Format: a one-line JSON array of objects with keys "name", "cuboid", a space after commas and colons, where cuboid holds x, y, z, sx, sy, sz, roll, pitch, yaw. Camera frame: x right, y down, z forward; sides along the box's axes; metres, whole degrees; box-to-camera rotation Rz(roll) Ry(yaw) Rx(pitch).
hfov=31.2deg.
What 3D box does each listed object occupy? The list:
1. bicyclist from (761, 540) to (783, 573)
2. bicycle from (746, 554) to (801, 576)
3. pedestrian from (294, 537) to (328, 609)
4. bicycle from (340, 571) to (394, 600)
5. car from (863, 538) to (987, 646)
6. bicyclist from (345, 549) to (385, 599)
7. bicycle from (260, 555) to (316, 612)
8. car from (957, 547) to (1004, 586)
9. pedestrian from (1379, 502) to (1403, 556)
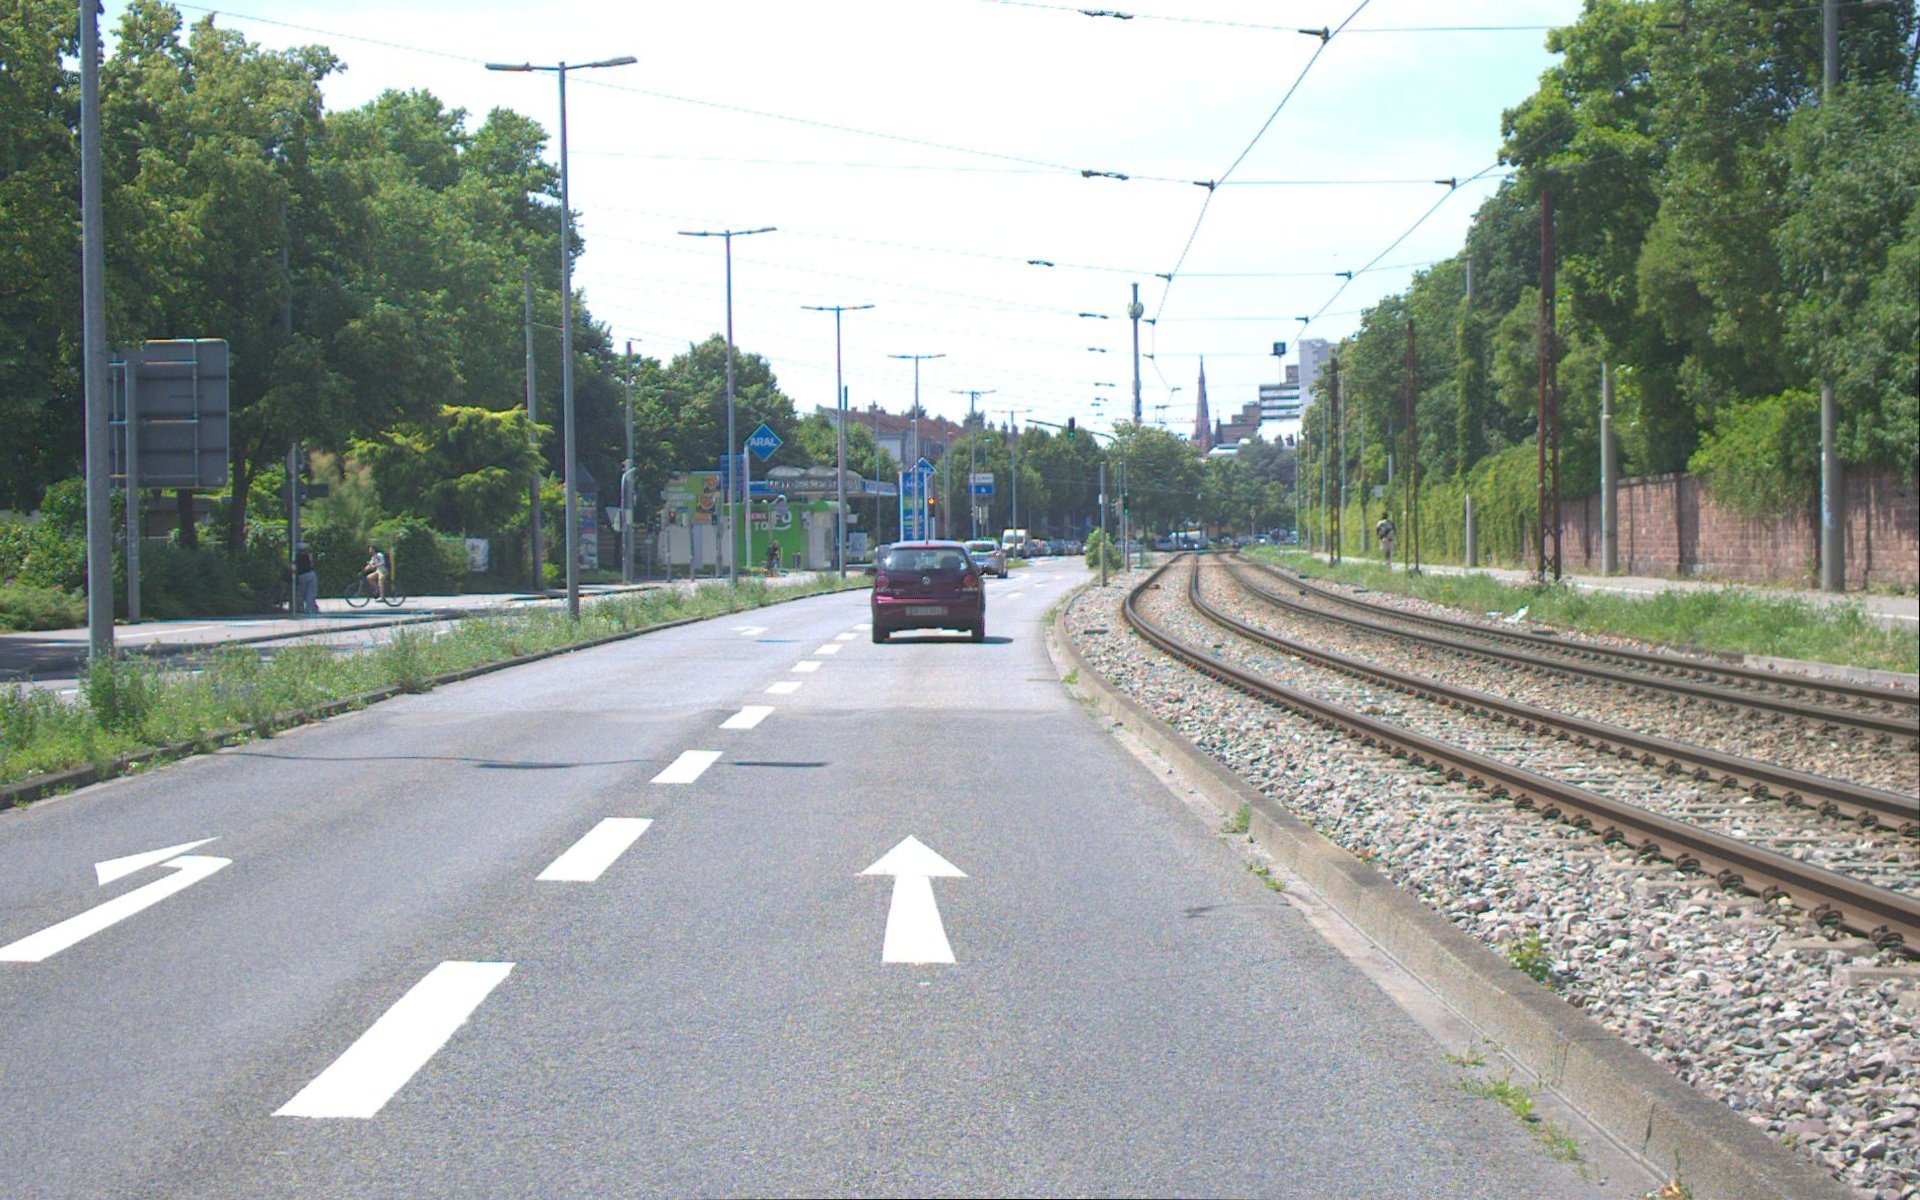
[{"name": "bicyclist", "cuboid": [-9.238, -2.135, 169.214, 0.944, 1.588, 1.088, 0, 0, -10]}, {"name": "bicycle", "cuboid": [-9.188, -1.724, 169.197, 2.549, 1.034, 1.088, 0, 0, -10]}, {"name": "pedestrian", "cuboid": [-15.585, -0.653, 82.522, 0.549, 1.712, 0.603, -1, 1, 17]}, {"name": "bicycle", "cuboid": [-16.903, -0.410, 98.056, 1.428, 0.771, 0.497, -3, 2, -37]}, {"name": "car", "cuboid": [-0.482, -0.112, 50.253, 1.703, 1.472, 3.716, 1, 0, 0]}, {"name": "bicyclist", "cuboid": [-16.963, -0.732, 98.011, 0.961, 1.398, 0.491, -3, 2, -37]}, {"name": "bicycle", "cuboid": [-16.172, -0.398, 82.705, 0.646, 1.323, 1.572, -1, 1, 16]}, {"name": "car", "cuboid": [0.793, -1.293, 133.284, 1.703, 1.475, 3.717, 0, 1, -1]}, {"name": "pedestrian", "cuboid": [13.914, -2.280, 110.966, 0.661, 1.720, 0.816, -1, 1, 3]}]
